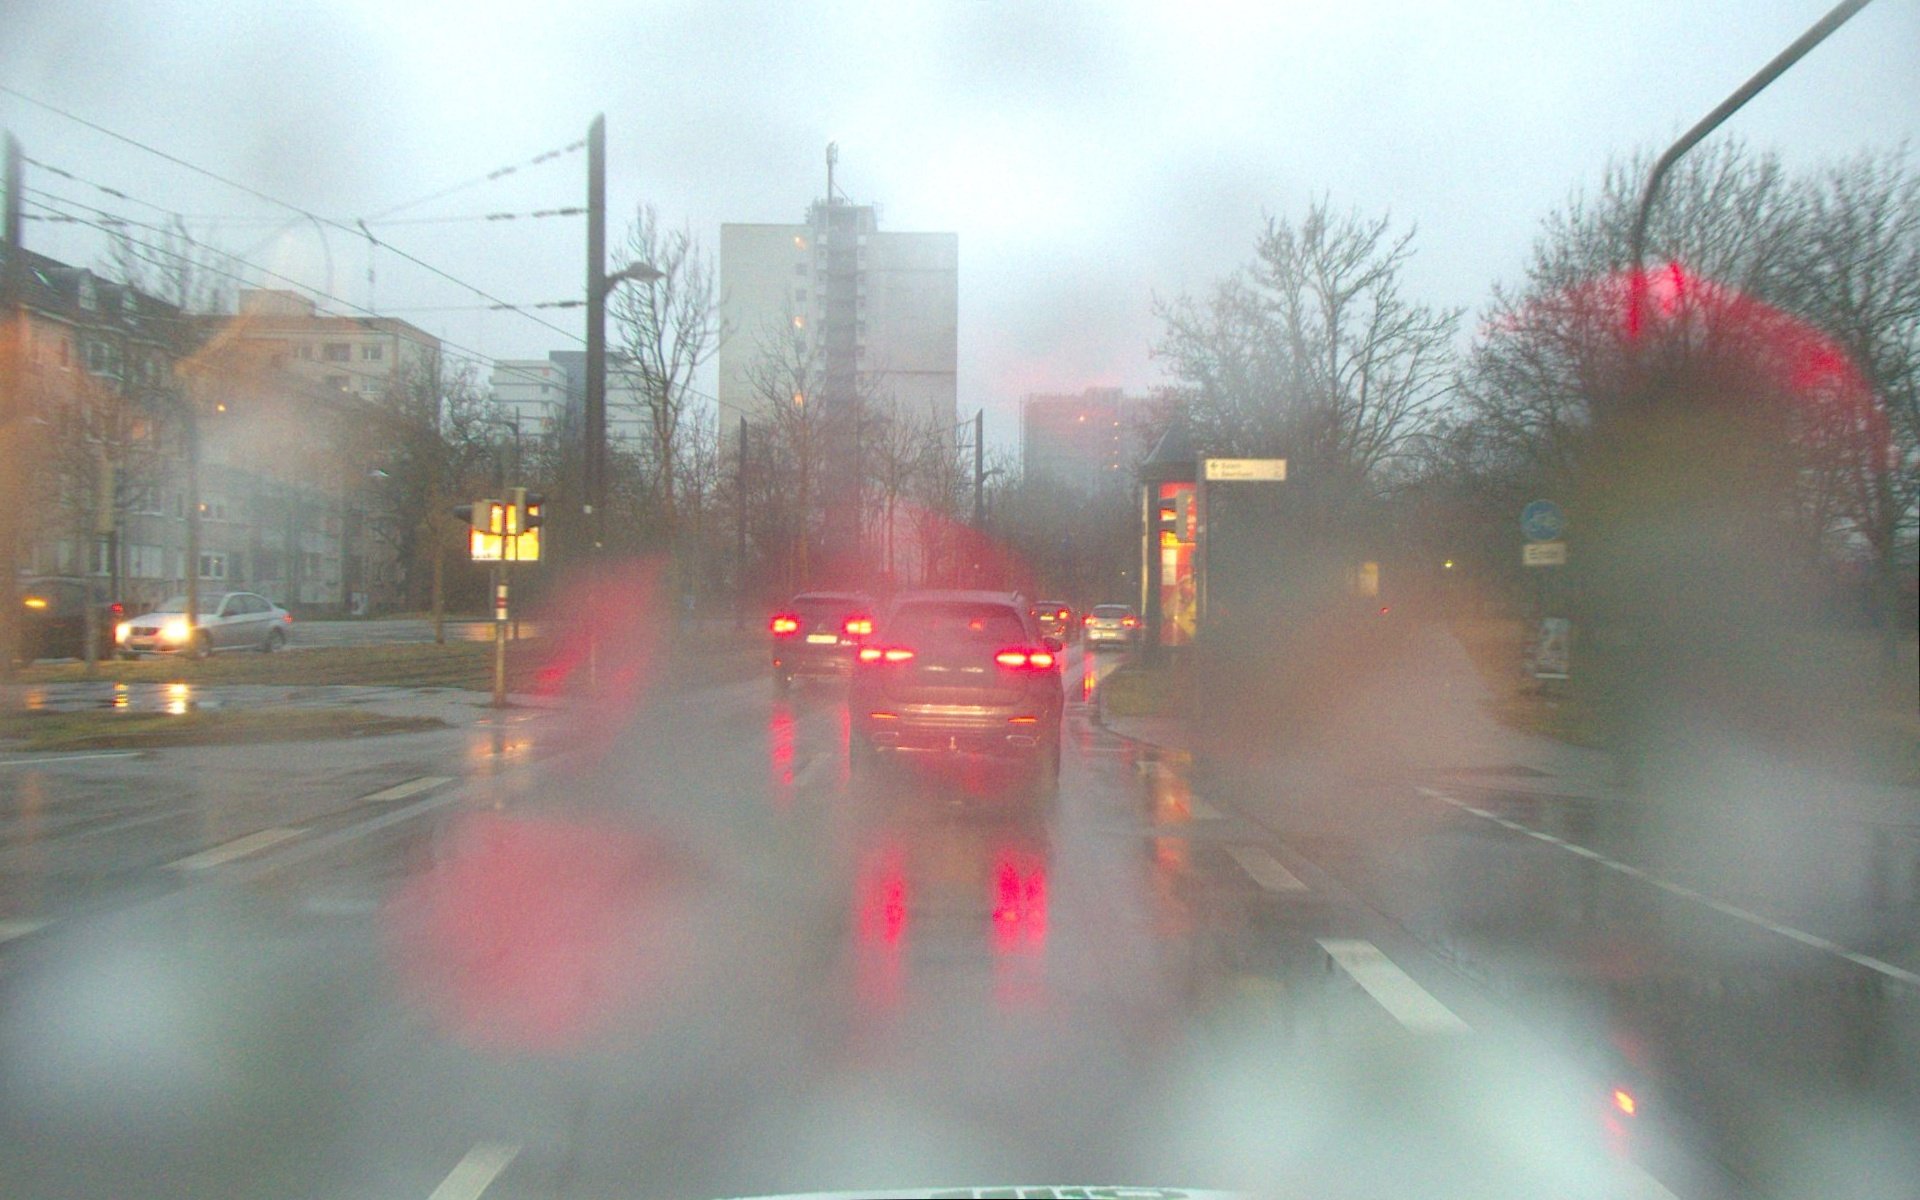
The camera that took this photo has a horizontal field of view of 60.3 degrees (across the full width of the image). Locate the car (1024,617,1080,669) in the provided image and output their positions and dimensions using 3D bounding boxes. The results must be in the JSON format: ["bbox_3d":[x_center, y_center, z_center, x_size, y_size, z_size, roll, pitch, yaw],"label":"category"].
[{"bbox_3d":[3.580,1.663,63.898,1.734,1.925,3.645,2,-1,9],"label":"car"}]

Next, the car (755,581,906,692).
[{"bbox_3d":[-2.189,0.650,29.253,1.951,1.742,4.326,2,-1,5],"label":"car"}]

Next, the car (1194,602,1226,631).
[{"bbox_3d":[14.271,0.959,94.678,1.503,1.540,3.344,2,-1,4],"label":"car"}]

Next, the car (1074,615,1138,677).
[{"bbox_3d":[4.923,1.543,55.406,1.817,1.925,4.003,2,-1,9],"label":"car"}]

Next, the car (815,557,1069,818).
[{"bbox_3d":[-0.101,0.739,15.198,1.952,2.010,4.068,2,-1,1],"label":"car"}]

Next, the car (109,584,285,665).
[{"bbox_3d":[-16.296,0.546,35.617,1.555,1.556,4.932,2,-1,-1],"label":"car"}]

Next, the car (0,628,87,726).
[{"bbox_3d":[-17.328,1.331,29.183,1.768,1.635,3.998,2,-1,-2],"label":"car"}]
